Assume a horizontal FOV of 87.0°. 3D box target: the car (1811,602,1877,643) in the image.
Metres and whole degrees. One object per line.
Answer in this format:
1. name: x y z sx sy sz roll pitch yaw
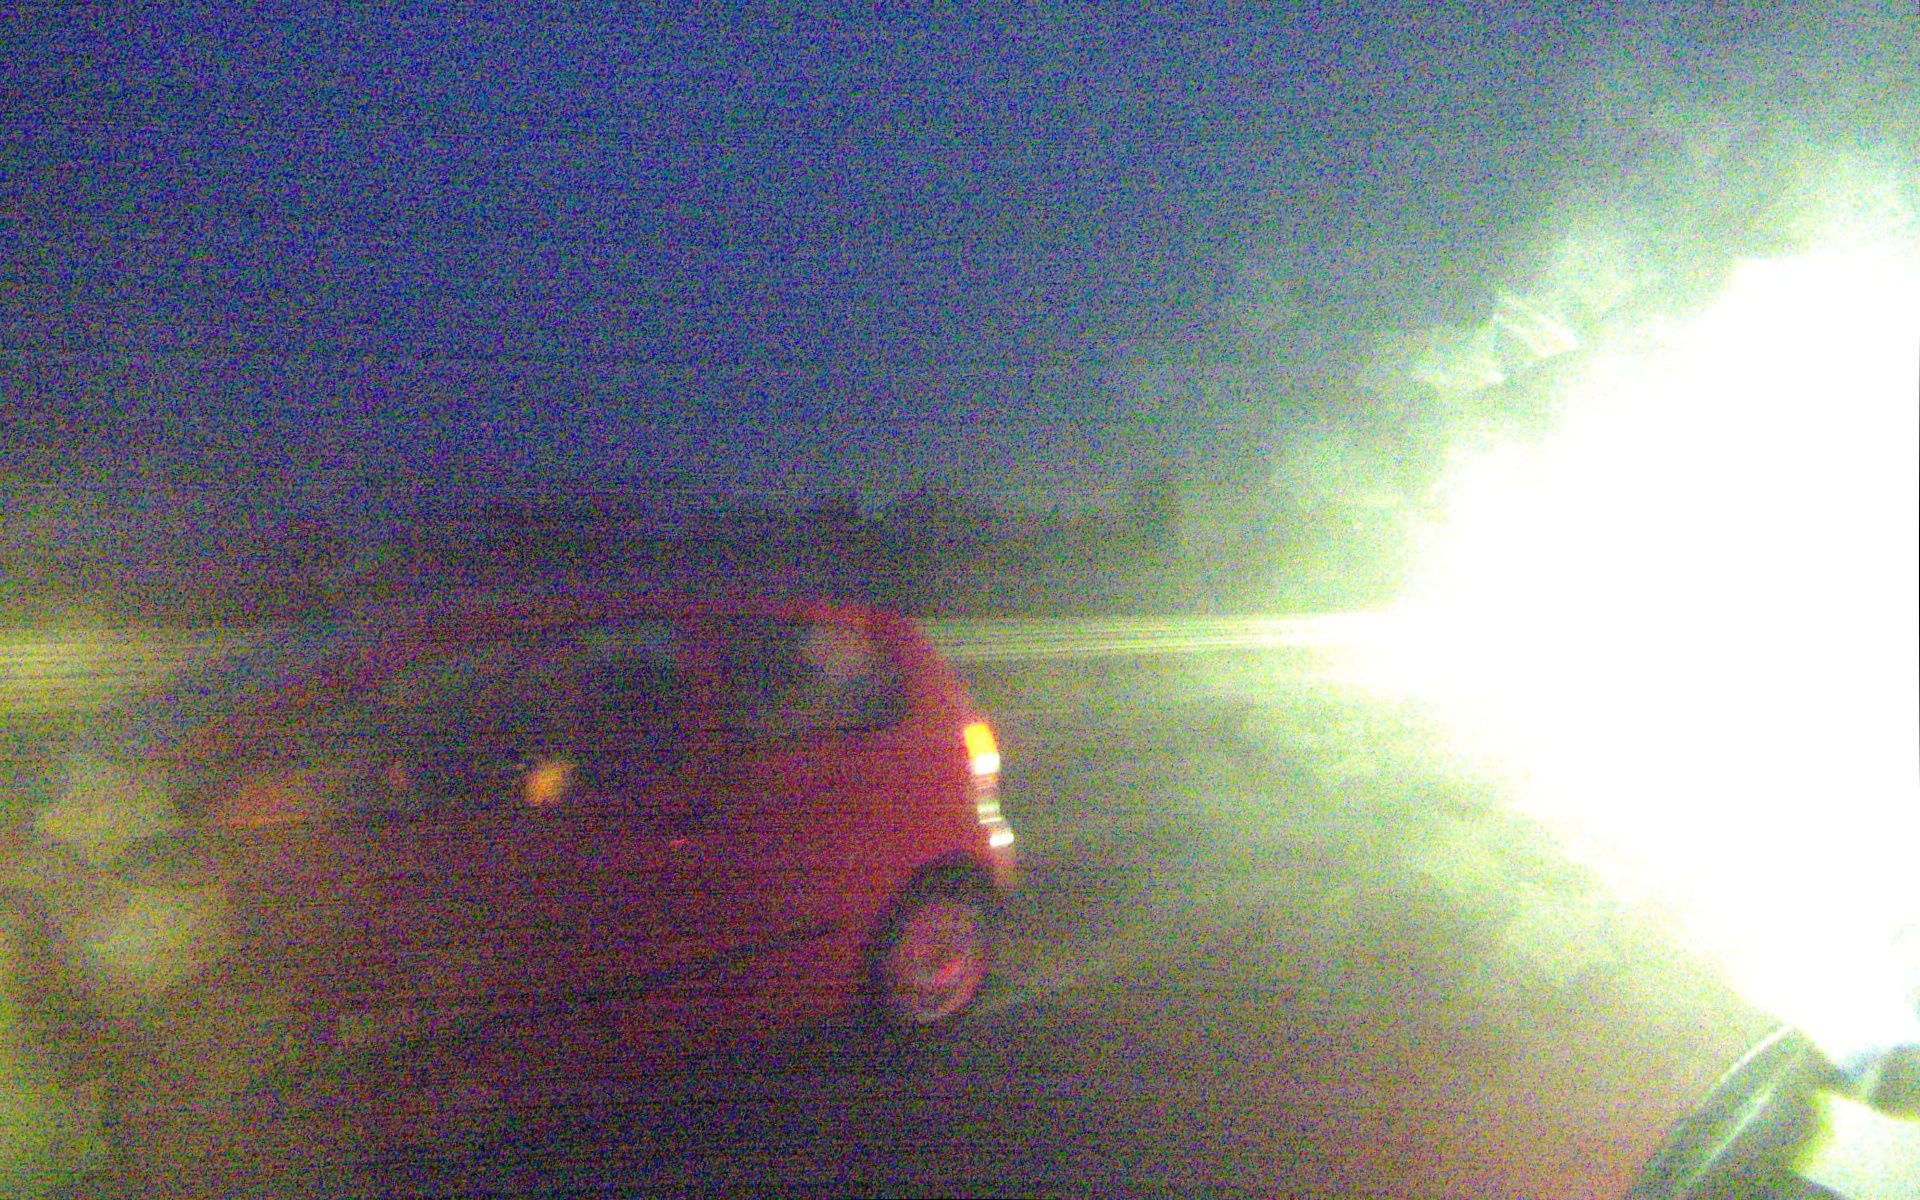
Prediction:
1. car: 35.317 0.883 40.396 3.946 1.522 1.641 1 1 -44

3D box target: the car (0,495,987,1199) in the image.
1. car: -2.139 0.588 2.590 4.416 1.595 1.743 0 1 -41
